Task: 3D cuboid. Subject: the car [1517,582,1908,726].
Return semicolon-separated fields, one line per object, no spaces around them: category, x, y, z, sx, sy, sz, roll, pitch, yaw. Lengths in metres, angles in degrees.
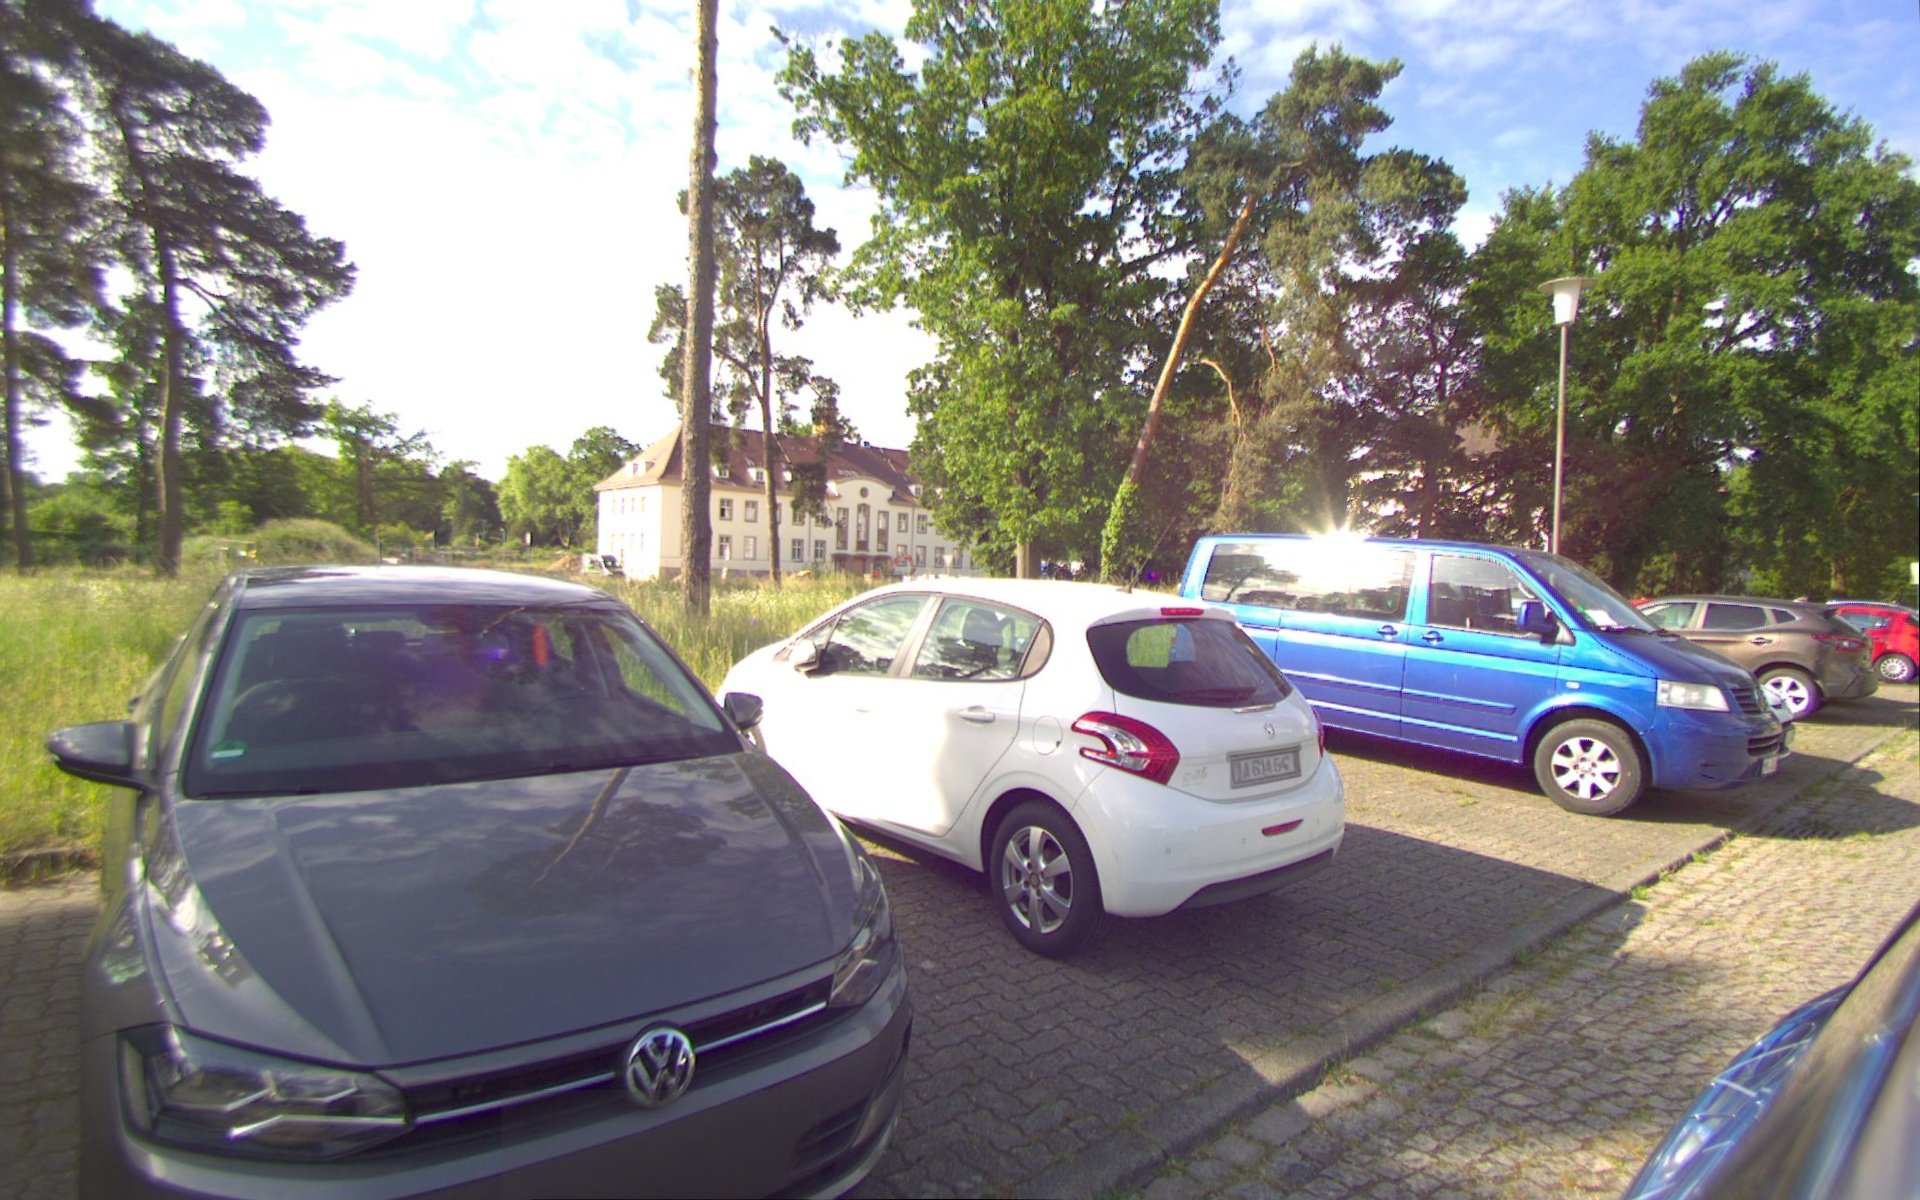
car;10.718;0.628;14.648;1.902;1.617;4.232;0;3;-43

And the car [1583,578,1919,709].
car;12.792;0.566;16.343;1.902;1.617;4.233;0;4;-43

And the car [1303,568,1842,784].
car;6.128;0.574;10.605;1.905;1.596;4.408;1;3;-40

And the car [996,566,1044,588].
car;5.612;-2.119;94.062;4.317;1.963;1.905;0;0;-39

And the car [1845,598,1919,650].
car;29.715;0.826;30.687;1.754;1.440;4.096;1;3;-41

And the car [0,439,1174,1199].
car;-1.452;0.463;3.009;1.823;1.466;3.717;1;3;-39

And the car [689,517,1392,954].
car;0.132;0.380;5.602;1.729;1.553;3.717;1;3;-39

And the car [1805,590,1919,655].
car;26.099;0.665;27.838;1.821;1.576;4.096;1;3;-41

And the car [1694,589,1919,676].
car;18.308;0.643;21.463;1.821;1.477;4.096;1;3;-41

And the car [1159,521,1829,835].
car;4.265;0.360;8.828;1.965;1.959;4.710;1;3;-40

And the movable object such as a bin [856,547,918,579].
movable object such as a bin;-7.942;-3.979;110.179;6.338;3.342;2.862;0;0;7

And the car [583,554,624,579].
car;-33.469;-3.148;94.953;1.967;2.240;4.423;0;0;-44
